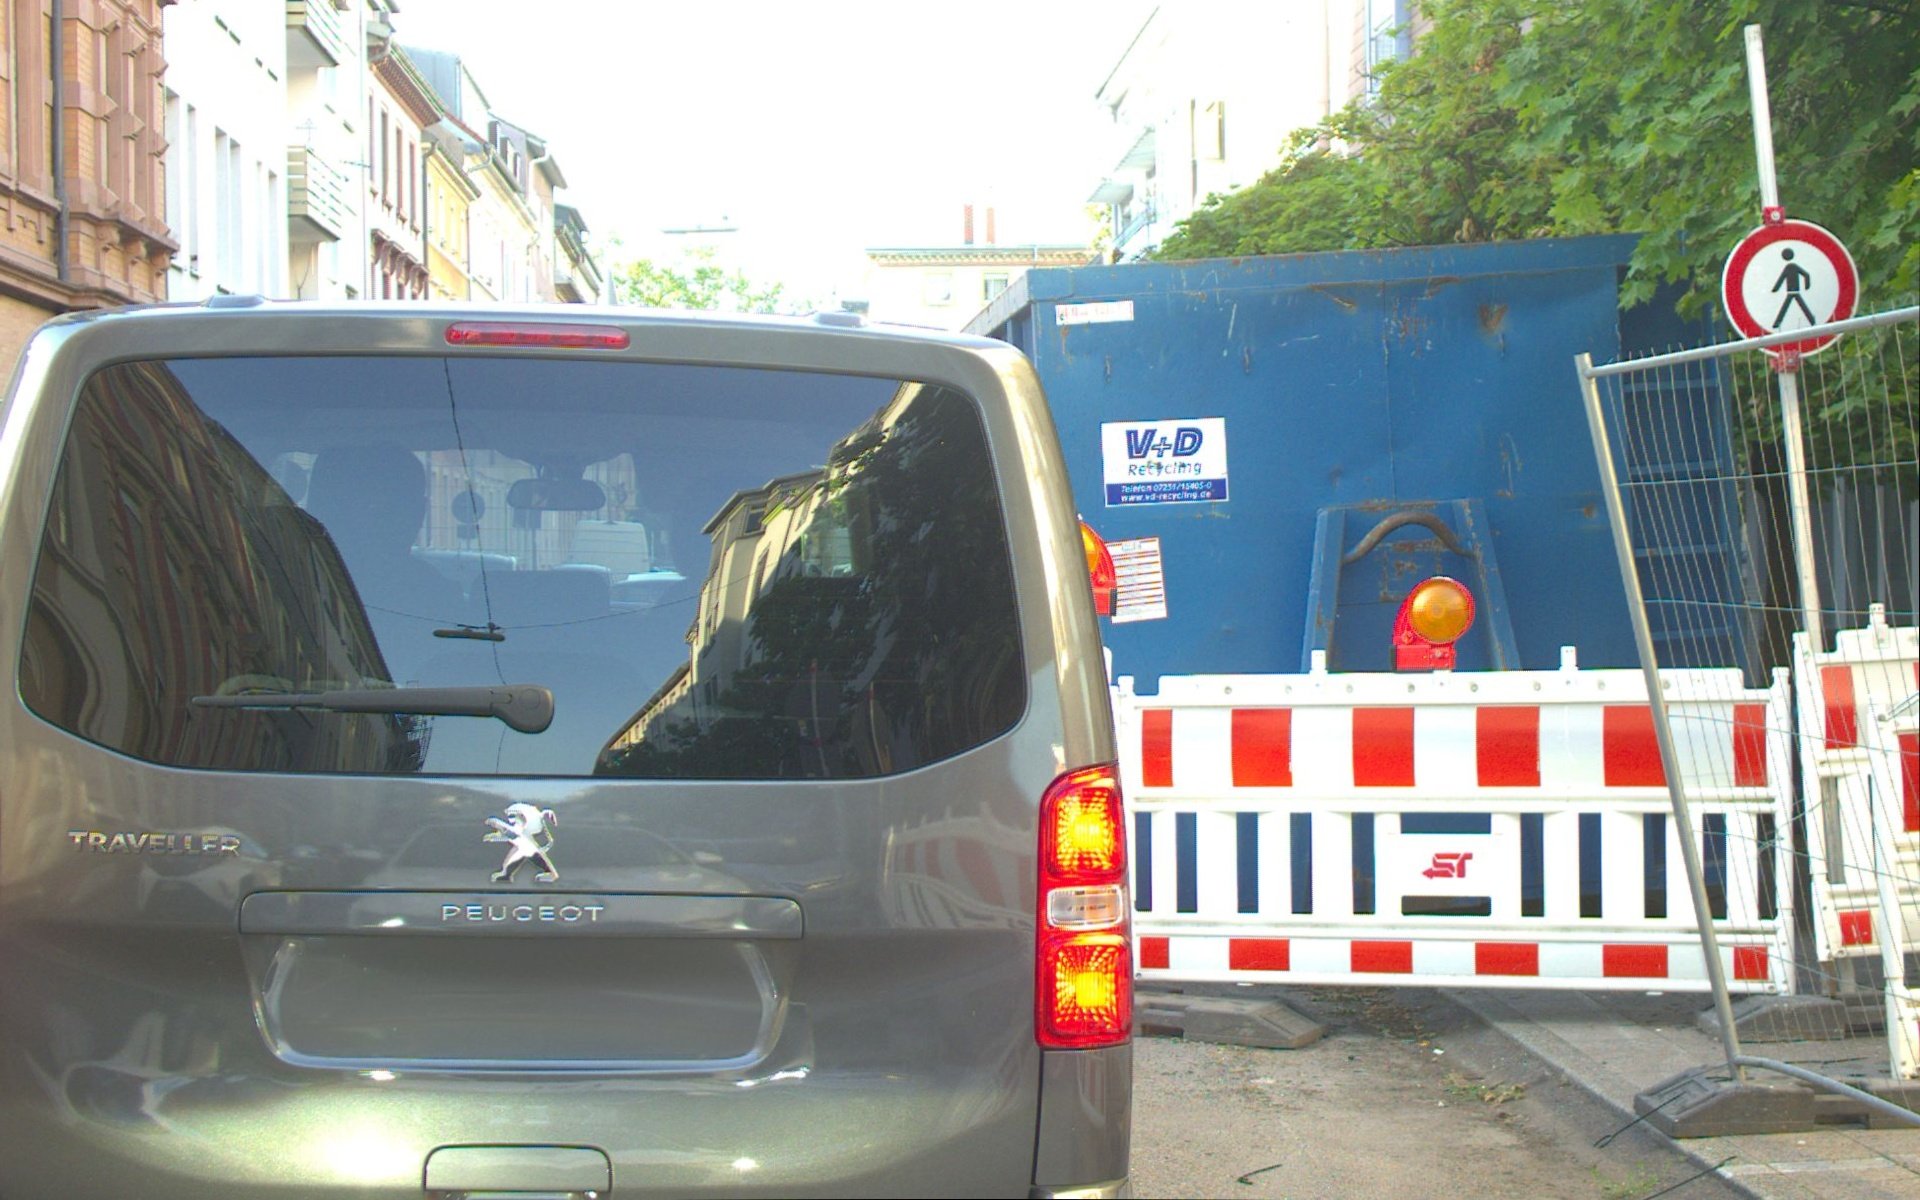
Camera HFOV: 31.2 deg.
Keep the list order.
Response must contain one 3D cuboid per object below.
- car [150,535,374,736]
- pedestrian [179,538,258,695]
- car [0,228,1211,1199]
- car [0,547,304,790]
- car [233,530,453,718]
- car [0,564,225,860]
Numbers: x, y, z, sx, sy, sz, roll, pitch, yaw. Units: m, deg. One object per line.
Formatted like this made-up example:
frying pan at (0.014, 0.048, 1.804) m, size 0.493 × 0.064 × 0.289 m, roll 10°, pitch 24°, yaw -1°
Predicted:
car at (-6.396, 0.305, 31.761) m, size 1.666 × 1.660 × 3.092 m, roll 4°, pitch 0°, yaw -7°
pedestrian at (-7.944, 0.165, 36.857) m, size 0.739 × 1.659 × 0.704 m, roll -1°, pitch 1°, yaw -7°
car at (-0.834, 0.453, 6.590) m, size 1.865 × 1.880 × 4.236 m, roll 0°, pitch 0°, yaw -7°
car at (-5.733, 0.451, 24.679) m, size 1.655 × 1.520 × 3.418 m, roll 4°, pitch 0°, yaw -7°
car at (-6.293, 0.231, 35.406) m, size 1.891 × 1.714 × 3.755 m, roll 4°, pitch 0°, yaw -7°
car at (-5.198, 0.553, 19.371) m, size 1.655 × 1.455 × 3.418 m, roll 4°, pitch 0°, yaw -7°
